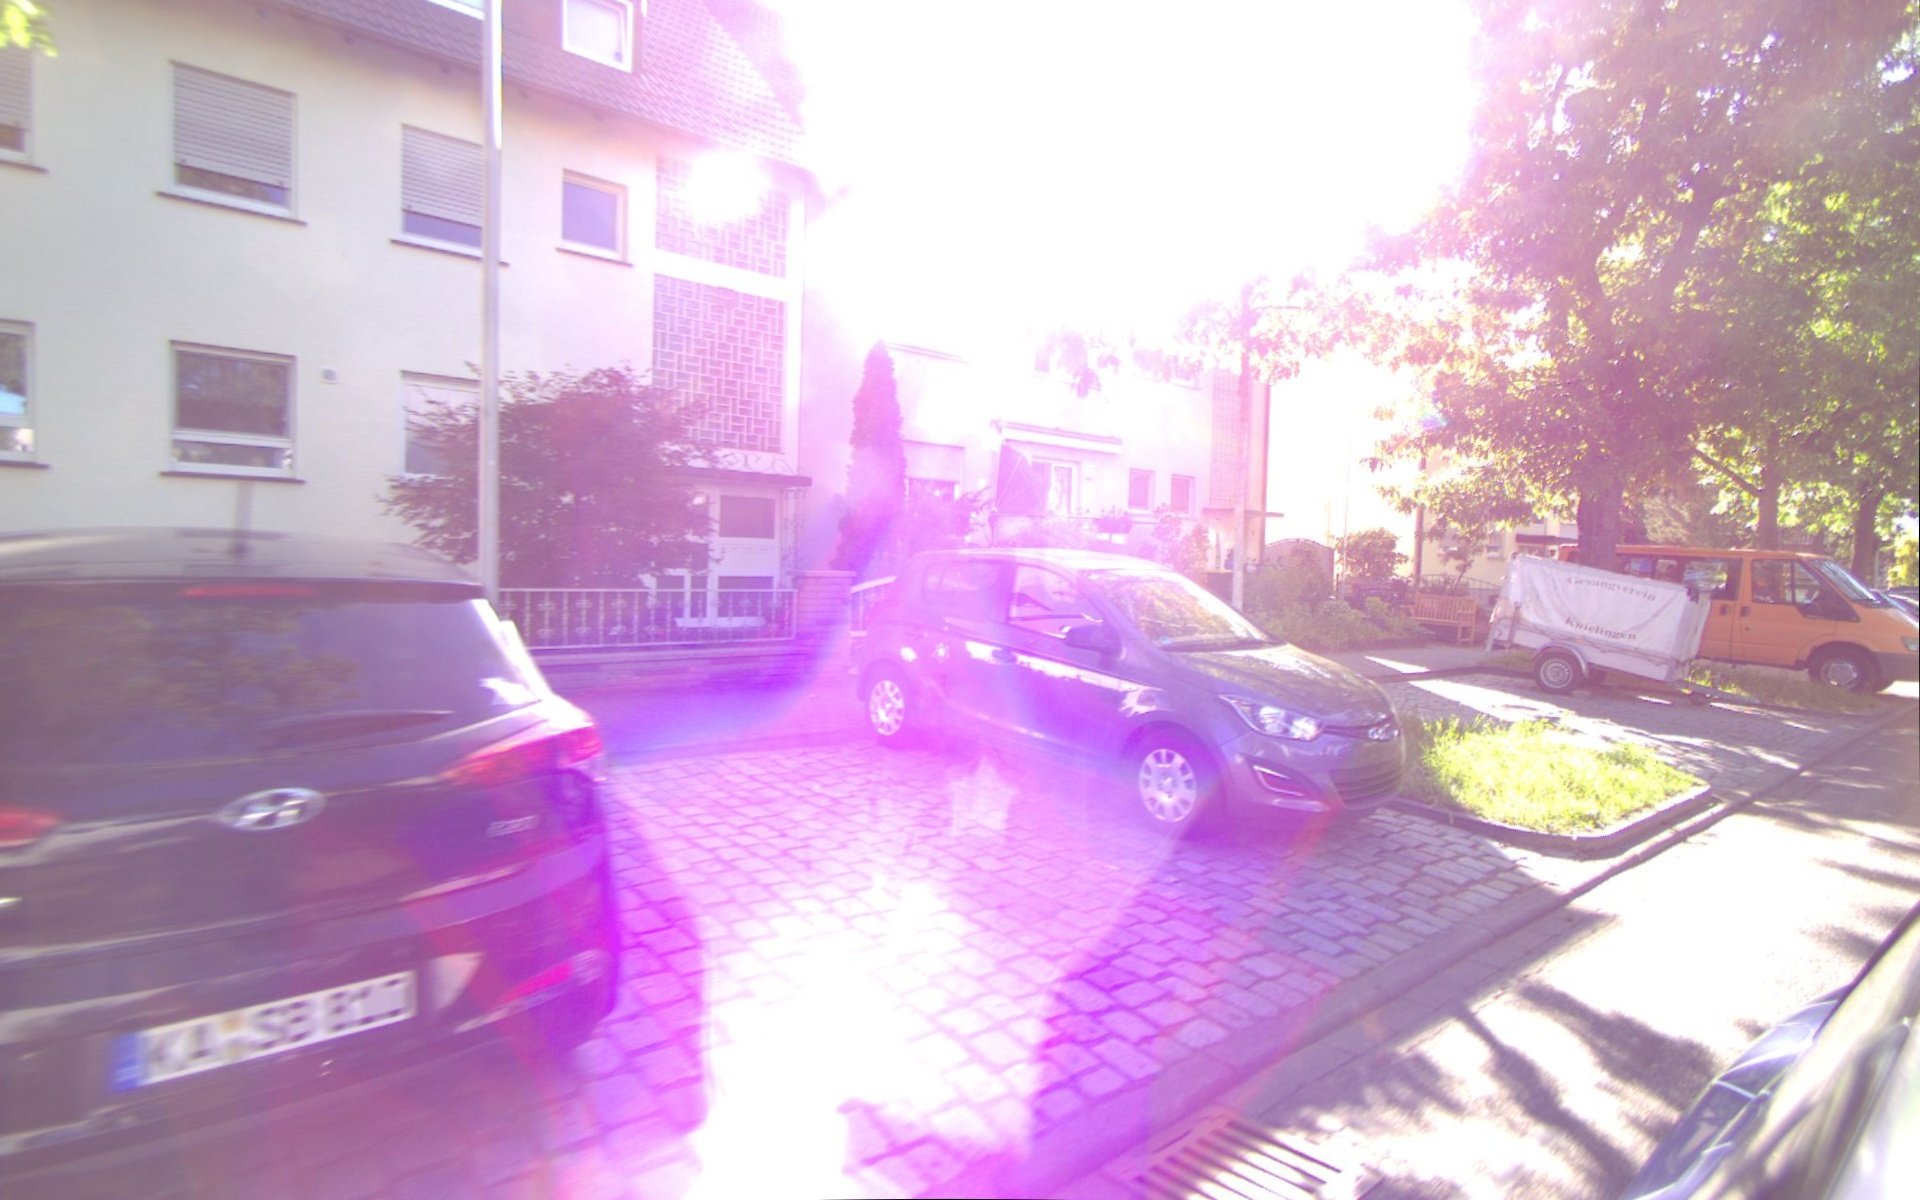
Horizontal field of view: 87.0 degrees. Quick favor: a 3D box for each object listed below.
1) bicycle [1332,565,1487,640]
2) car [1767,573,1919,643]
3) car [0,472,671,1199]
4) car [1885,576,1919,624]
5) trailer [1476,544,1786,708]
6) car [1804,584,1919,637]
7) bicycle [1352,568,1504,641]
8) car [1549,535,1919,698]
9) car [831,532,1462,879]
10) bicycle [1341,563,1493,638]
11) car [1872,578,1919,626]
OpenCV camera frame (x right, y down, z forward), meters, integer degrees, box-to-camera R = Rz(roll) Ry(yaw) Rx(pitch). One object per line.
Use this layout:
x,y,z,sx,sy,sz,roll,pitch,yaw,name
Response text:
8.849,0.004,20.094,0.459,1.252,2.867,0,4,-38,bicycle
23.926,0.217,26.245,1.834,1.579,4.349,0,4,-40,car
-2.546,0.441,3.407,1.631,1.534,3.892,-1,4,-39,car
35.887,0.137,35.632,1.805,1.666,4.587,0,5,-39,car
8.429,0.213,12.833,2.948,1.683,1.589,7,6,45,trailer
27.728,0.356,29.536,1.659,1.347,4.444,0,5,-37,car
9.537,0.051,20.782,0.459,1.252,2.867,-1,5,-38,bicycle
12.191,0.107,15.667,2.049,2.108,4.831,0,3,-39,car
0.981,0.390,6.895,1.727,1.643,3.994,-2,4,-42,car
9.169,-0.033,20.475,0.459,1.251,2.867,-1,5,-38,bicycle
33.610,0.190,33.850,1.808,1.548,4.332,0,4,-39,car
